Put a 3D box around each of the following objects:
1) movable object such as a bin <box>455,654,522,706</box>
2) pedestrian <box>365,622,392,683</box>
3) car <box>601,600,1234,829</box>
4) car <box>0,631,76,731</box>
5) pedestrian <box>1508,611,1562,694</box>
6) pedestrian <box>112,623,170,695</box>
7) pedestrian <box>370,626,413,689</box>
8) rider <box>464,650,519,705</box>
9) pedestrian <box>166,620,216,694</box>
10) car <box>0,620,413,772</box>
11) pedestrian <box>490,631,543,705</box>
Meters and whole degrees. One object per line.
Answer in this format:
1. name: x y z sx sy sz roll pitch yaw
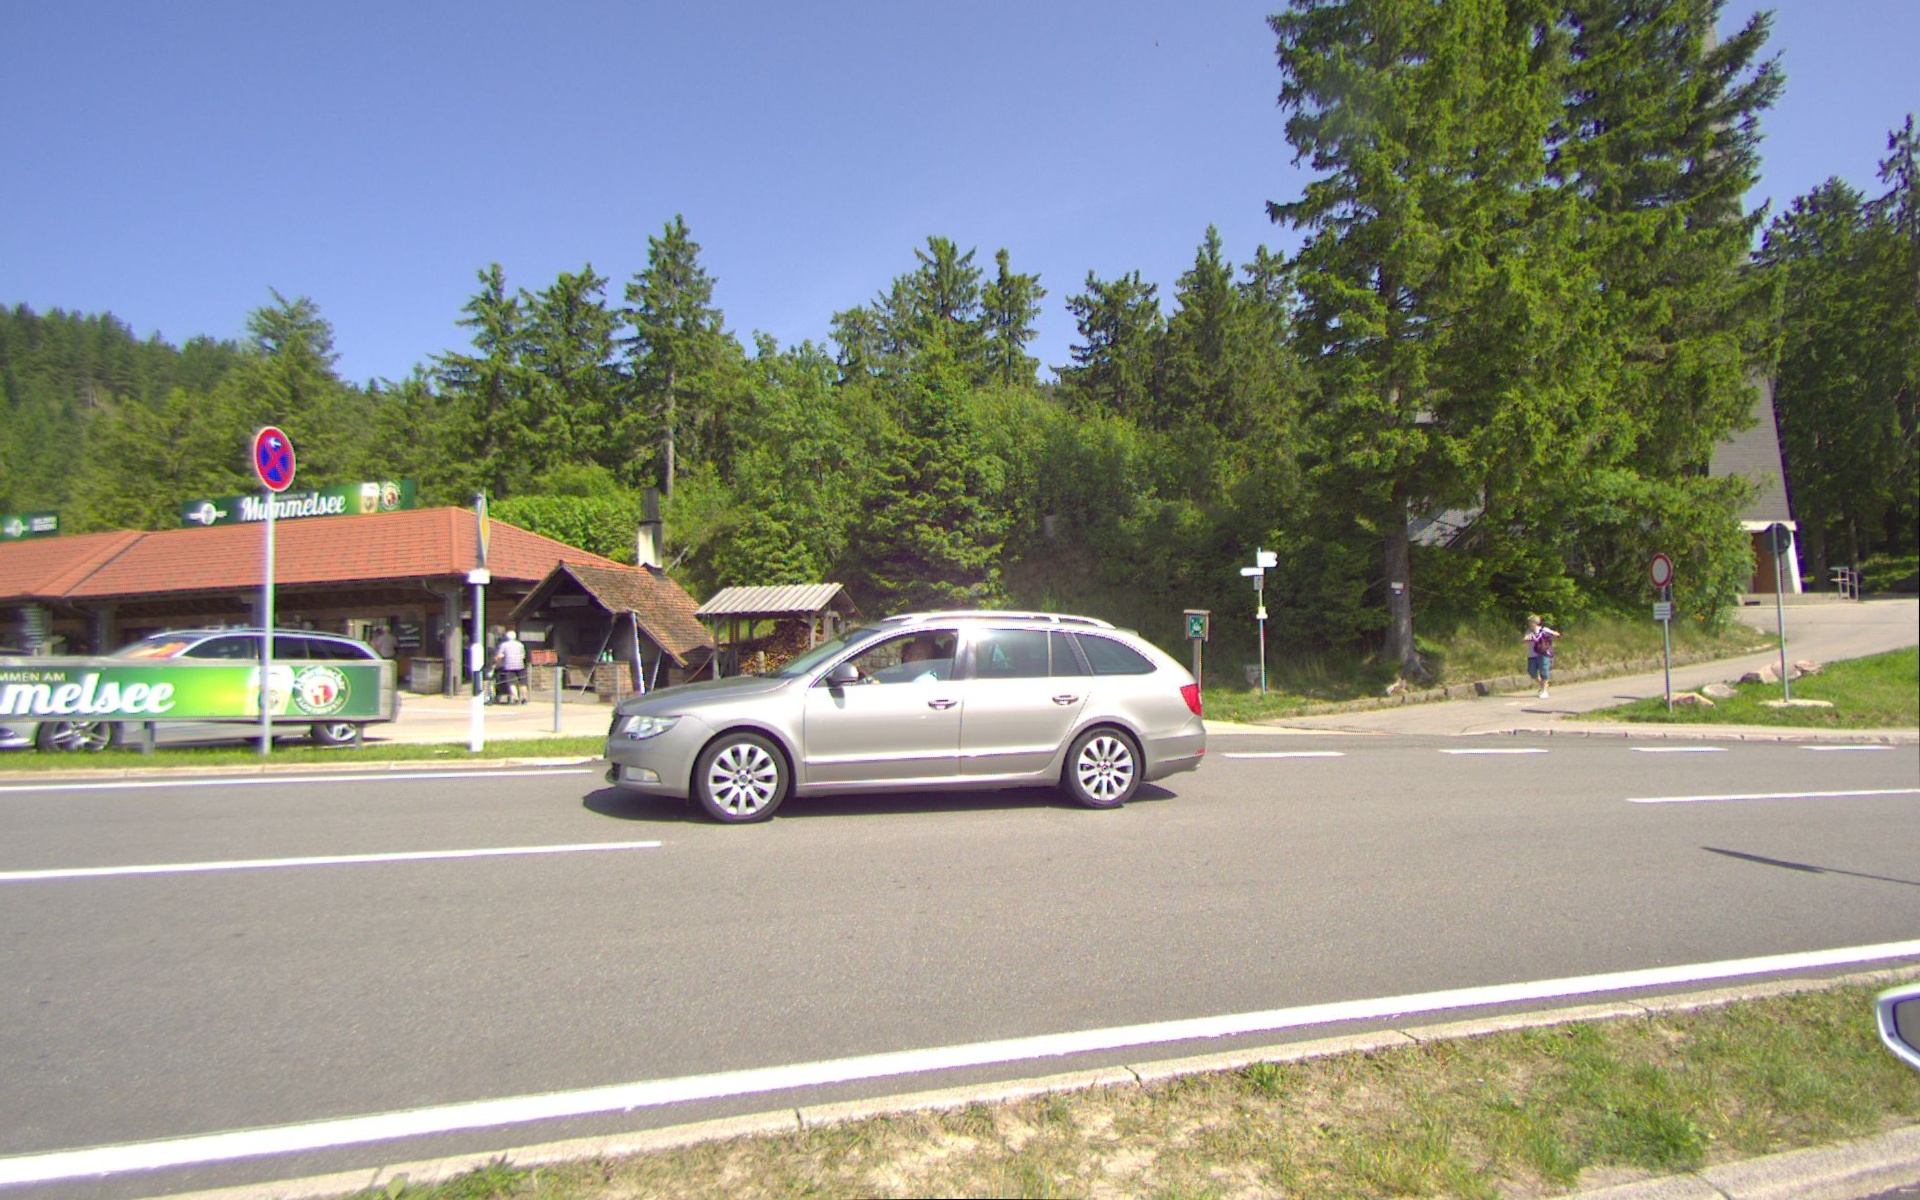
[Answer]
1. movable object such as a bin: -11.475 1.931 24.446 1.196 1.204 0.981 -1 -3 33
2. pedestrian: -16.986 1.529 29.363 0.547 1.759 0.669 1 -2 -22
3. car: -0.346 0.813 8.100 4.637 1.494 1.879 1 -1 -16
4. car: -18.532 1.448 18.414 4.016 1.738 1.920 -1 -3 24
5. pedestrian: 12.145 1.104 21.224 0.672 1.703 0.718 1 -3 -21
6. pedestrian: -23.773 1.696 29.168 0.945 2.040 0.856 0 -2 18
7. pedestrian: -16.275 1.630 28.741 0.790 1.759 0.747 -1 -3 33
8. rider: -11.388 1.875 24.420 0.893 1.291 0.837 -1 -3 33
9. pedestrian: -21.583 1.585 28.190 0.909 2.040 0.723 0 -2 23
10. car: -9.088 1.050 11.886 1.689 1.449 4.501 -1 -4 23
11. pedestrian: -10.572 1.613 23.950 0.790 1.721 0.837 -1 -3 33
